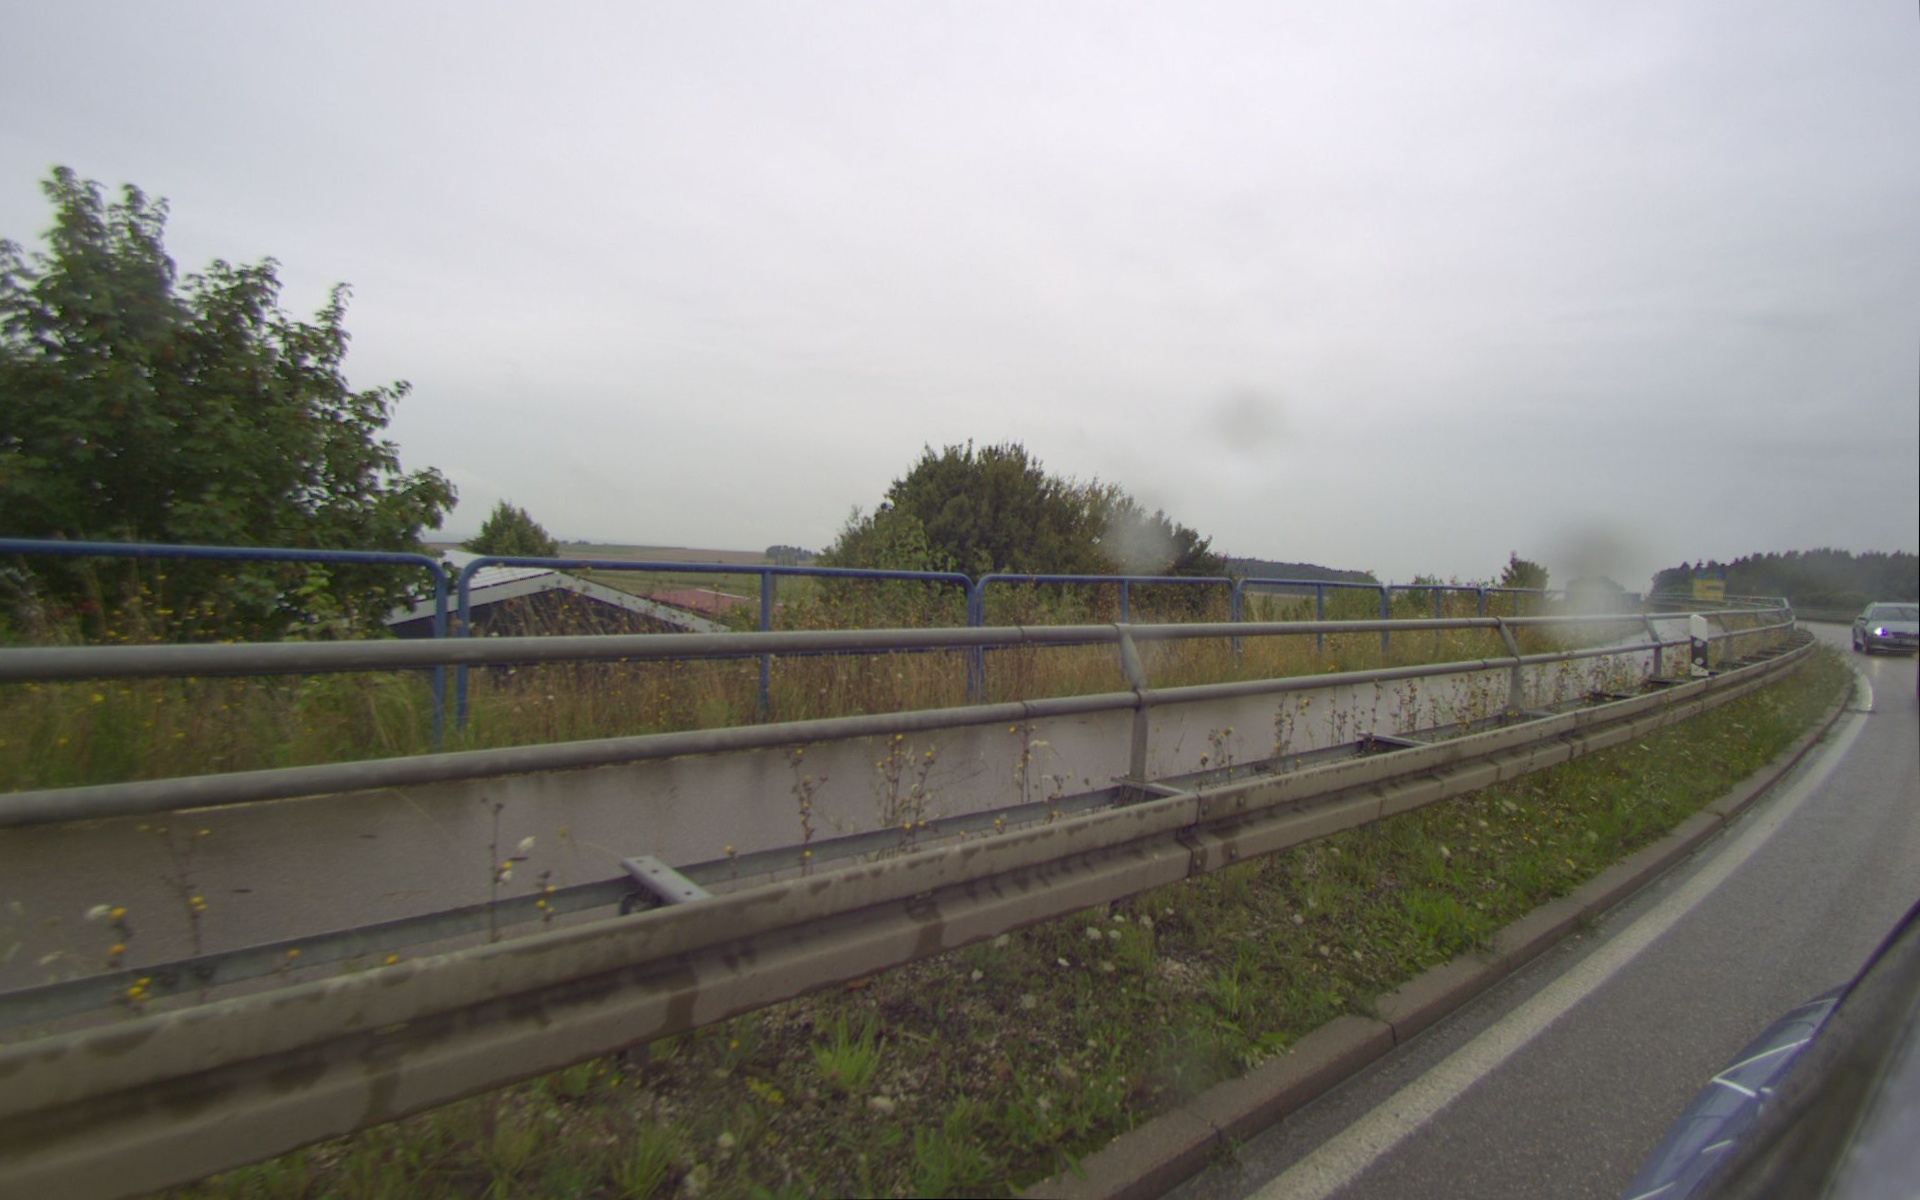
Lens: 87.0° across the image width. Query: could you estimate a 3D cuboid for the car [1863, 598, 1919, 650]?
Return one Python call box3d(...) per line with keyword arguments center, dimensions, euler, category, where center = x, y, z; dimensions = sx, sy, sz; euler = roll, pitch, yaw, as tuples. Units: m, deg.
box3d(center=(27.294, 0.654, 29.009), dimensions=(1.811, 1.408, 4.013), euler=(1, 1, 38), category="car")
